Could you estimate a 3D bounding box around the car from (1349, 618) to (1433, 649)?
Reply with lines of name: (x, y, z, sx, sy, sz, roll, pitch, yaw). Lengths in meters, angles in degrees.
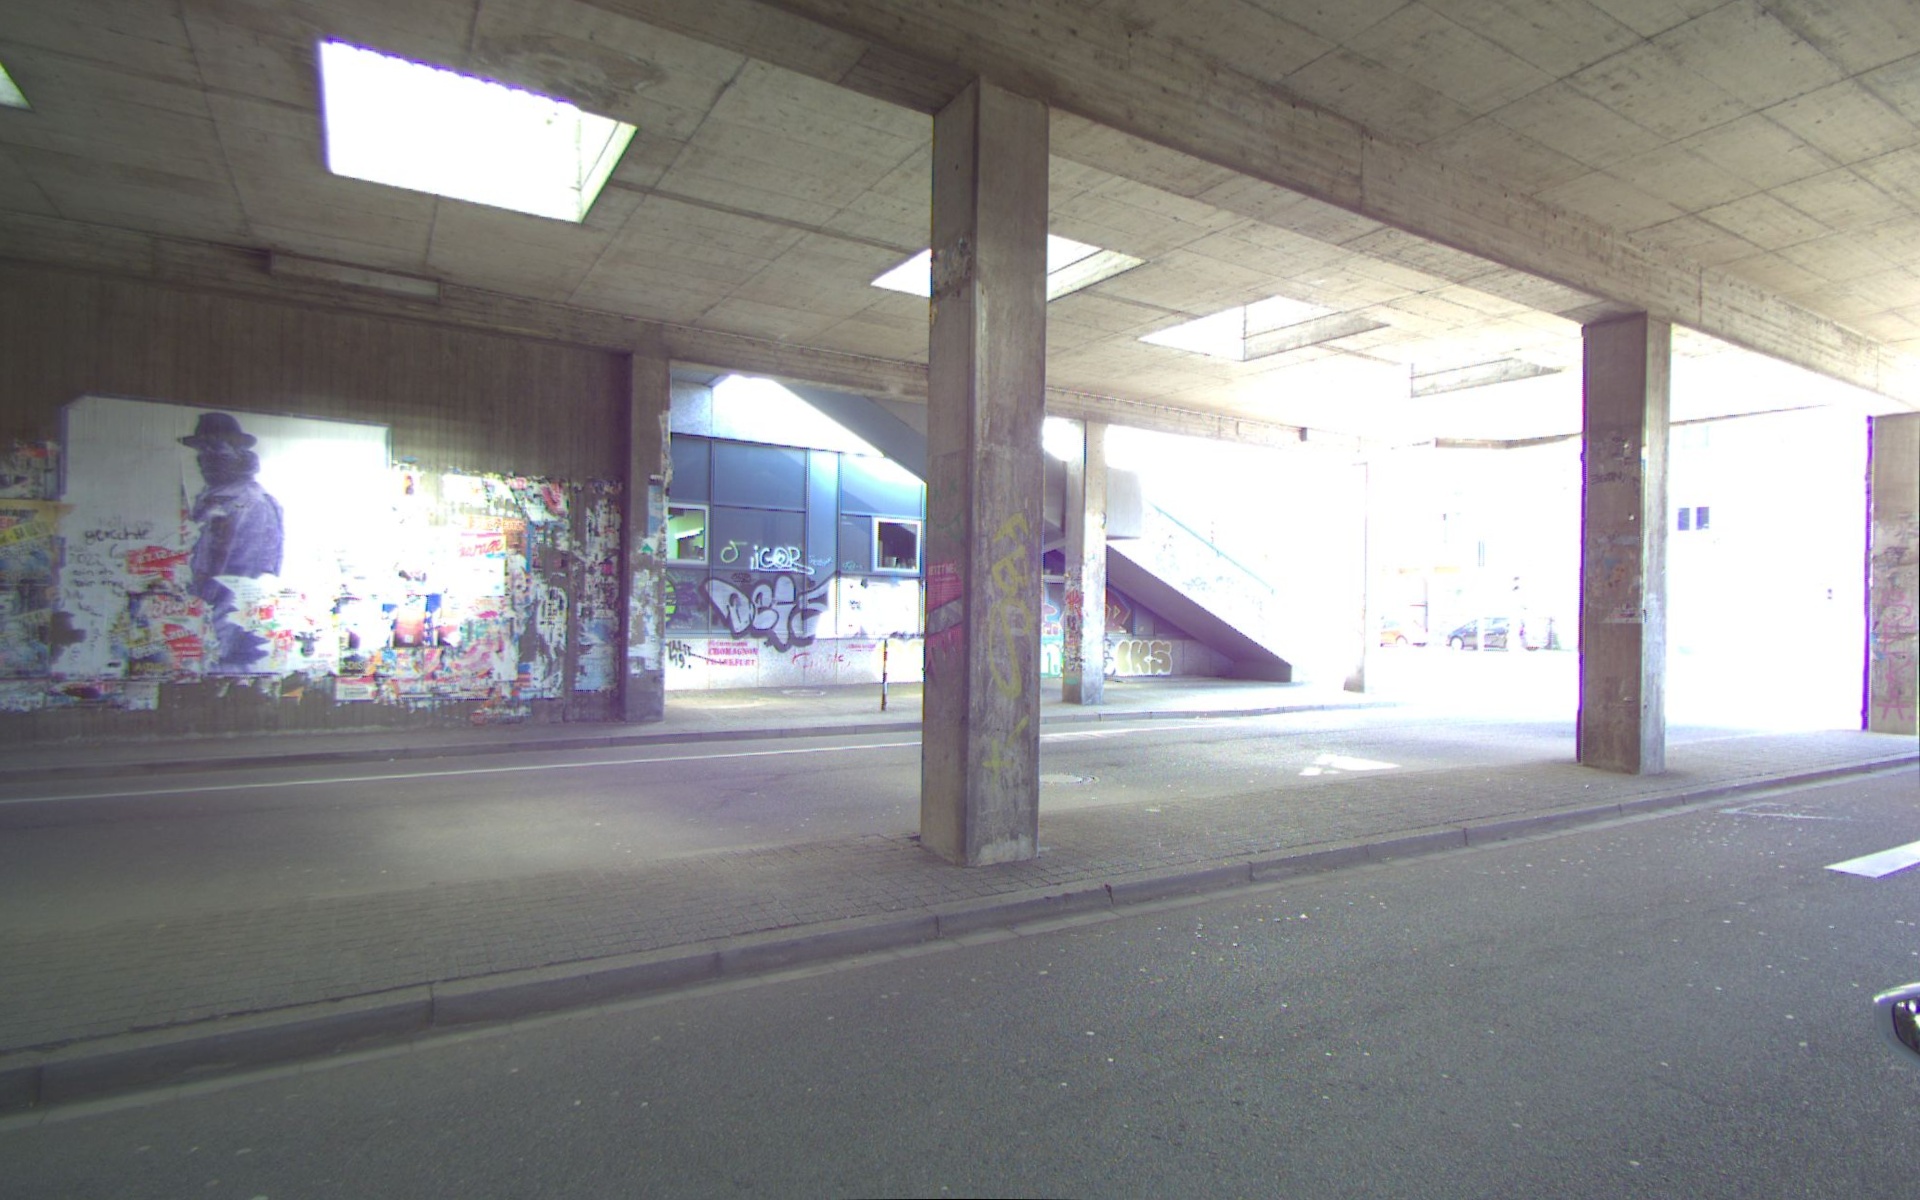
car: (22.545, 1.749, 52.602, 1.730, 1.495, 3.741, 2, -1, -31)

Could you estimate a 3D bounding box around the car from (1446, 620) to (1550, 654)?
car: (25.457, 1.728, 47.646, 1.718, 1.495, 4.089, 2, -1, -31)
